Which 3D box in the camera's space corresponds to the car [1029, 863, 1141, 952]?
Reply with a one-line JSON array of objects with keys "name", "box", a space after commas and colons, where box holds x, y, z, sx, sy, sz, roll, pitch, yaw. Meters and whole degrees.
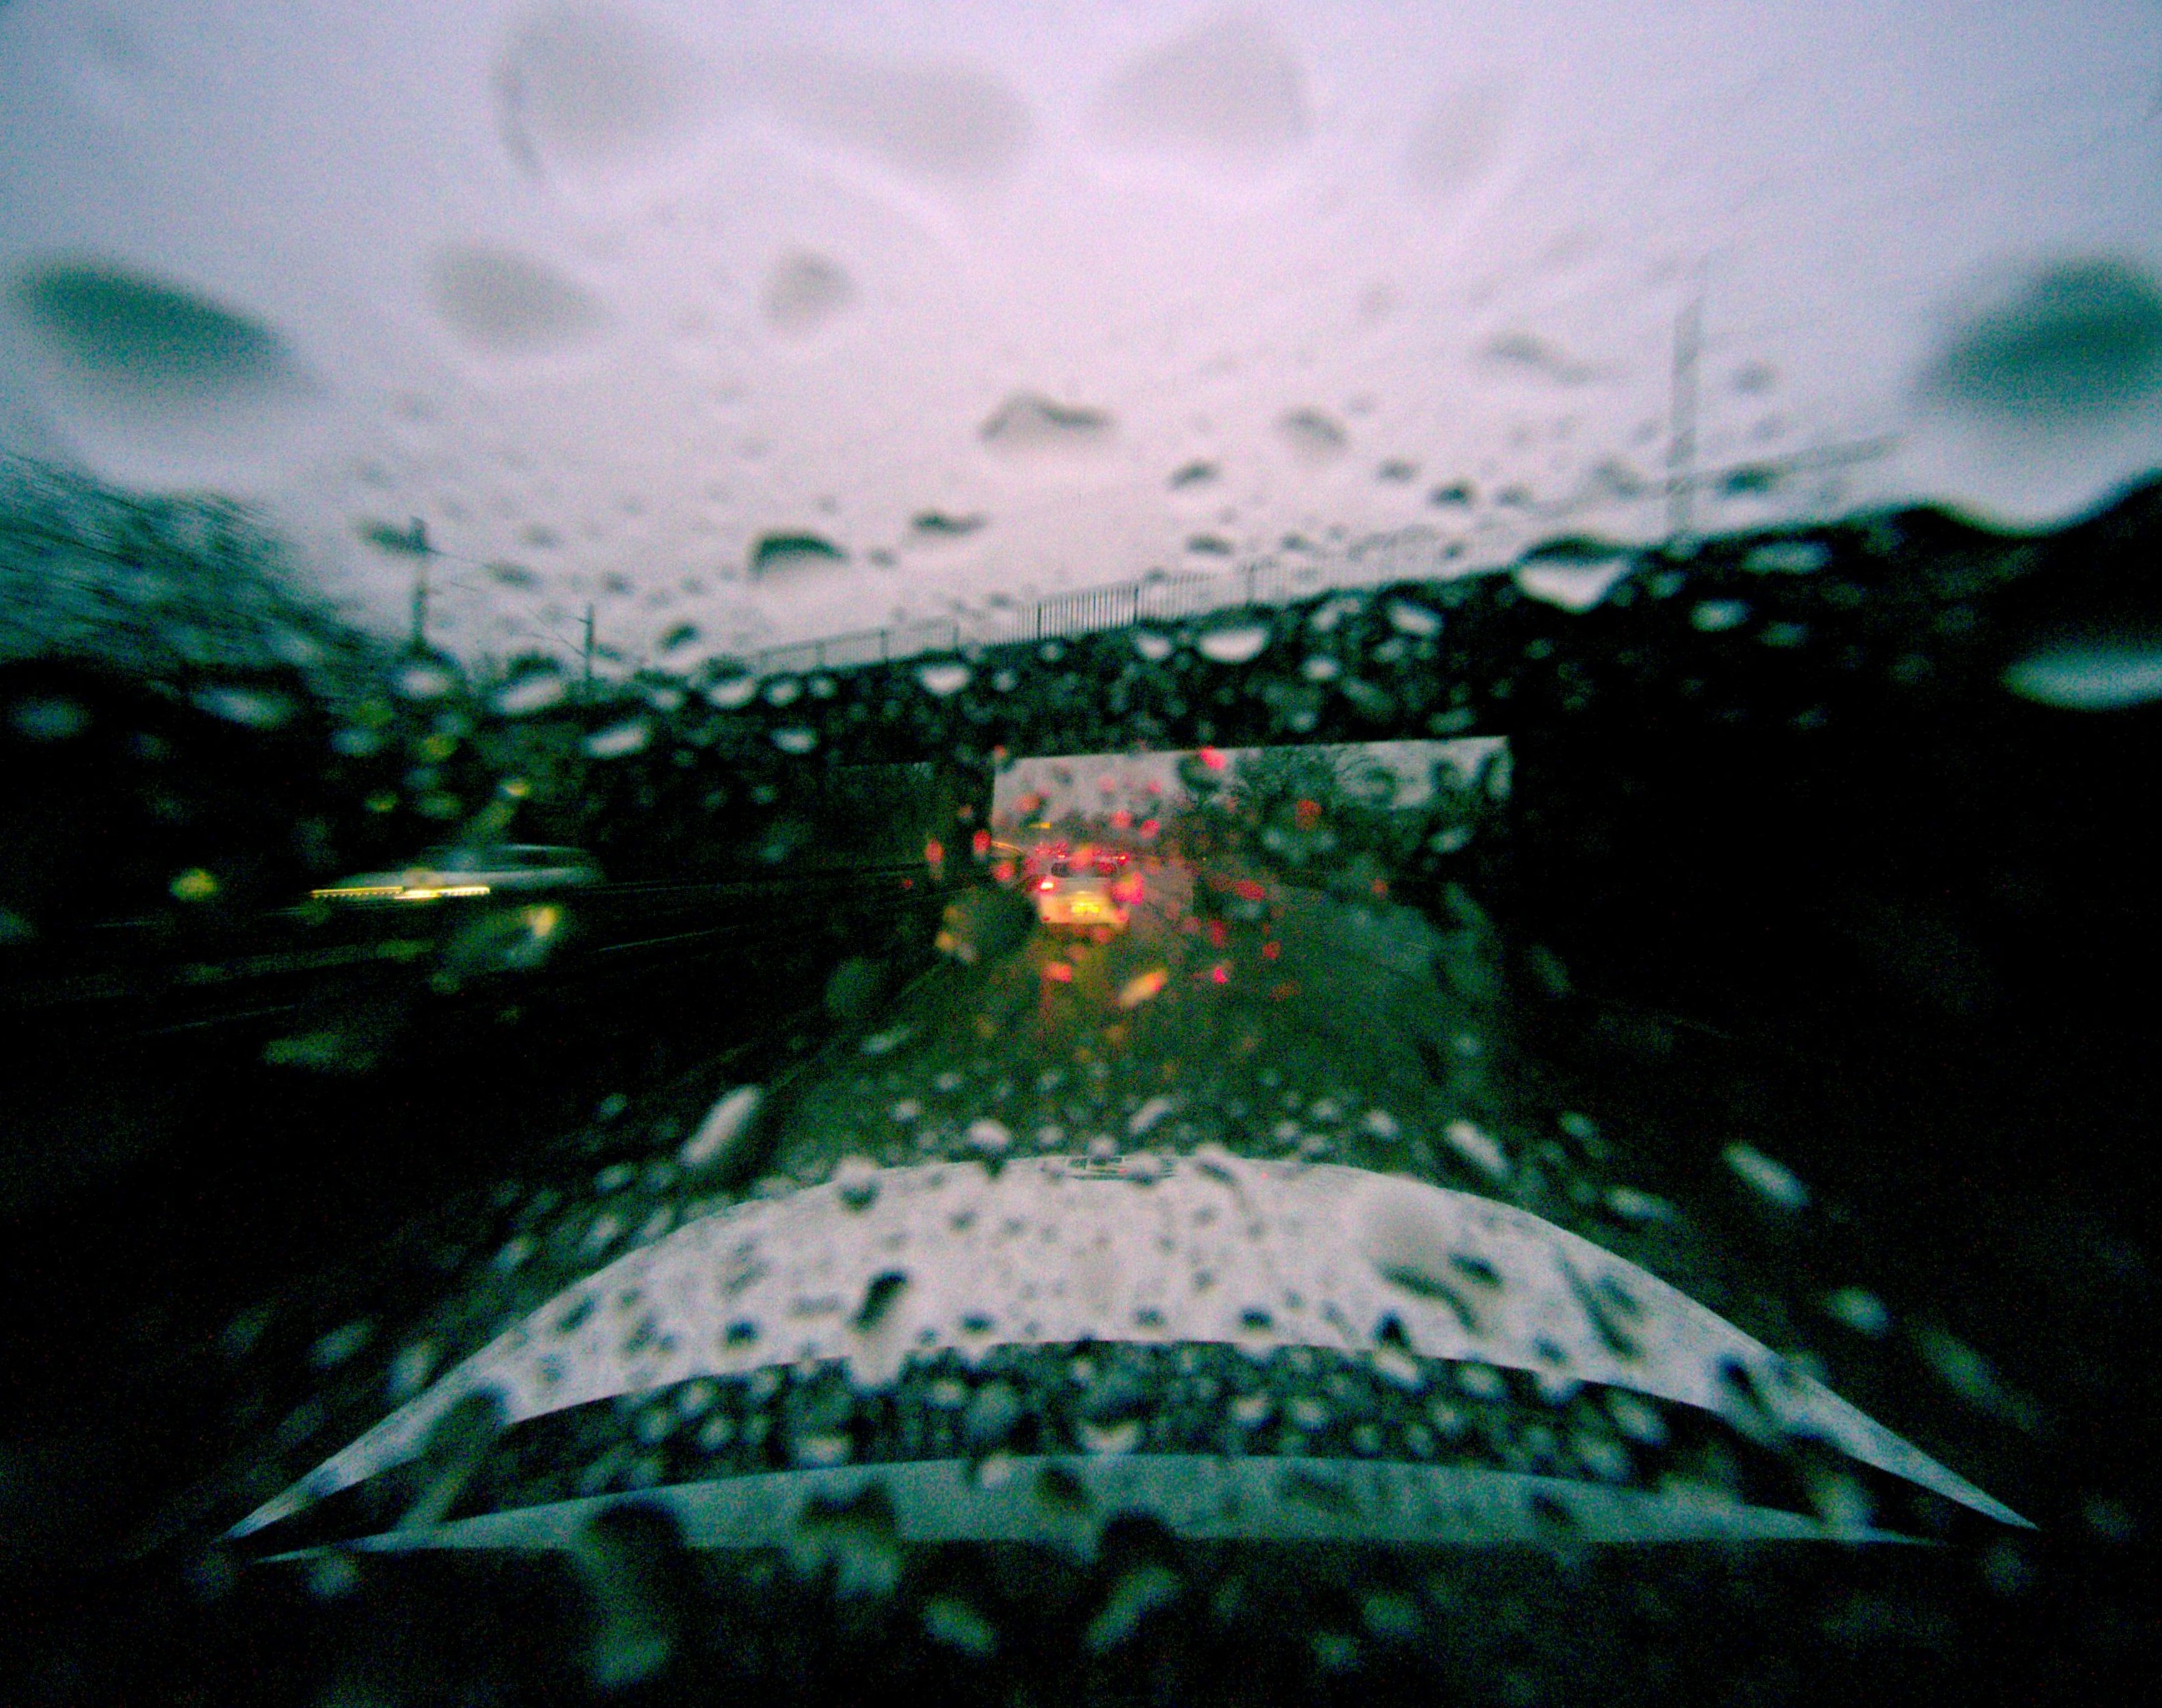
[{"name": "car", "box": [0.122, 1.027, 16.958, 2.017, 1.575, 4.001, 2, -1, 1]}]

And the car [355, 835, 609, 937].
[{"name": "car", "box": [-11.085, 0.538, 15.525, 1.577, 1.670, 4.296, 0, 0, 1]}]

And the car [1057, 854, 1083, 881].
[{"name": "car", "box": [-0.848, 1.085, 64.416, 1.987, 2.014, 3.999, 2, -1, 0]}]

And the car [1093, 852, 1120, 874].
[{"name": "car", "box": [2.038, 0.755, 65.952, 1.927, 1.546, 3.770, -4, -3, -2]}]

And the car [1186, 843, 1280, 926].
[{"name": "car", "box": [4.034, 0.793, 22.169, 1.925, 2.019, 3.774, 2, -1, 1]}]
